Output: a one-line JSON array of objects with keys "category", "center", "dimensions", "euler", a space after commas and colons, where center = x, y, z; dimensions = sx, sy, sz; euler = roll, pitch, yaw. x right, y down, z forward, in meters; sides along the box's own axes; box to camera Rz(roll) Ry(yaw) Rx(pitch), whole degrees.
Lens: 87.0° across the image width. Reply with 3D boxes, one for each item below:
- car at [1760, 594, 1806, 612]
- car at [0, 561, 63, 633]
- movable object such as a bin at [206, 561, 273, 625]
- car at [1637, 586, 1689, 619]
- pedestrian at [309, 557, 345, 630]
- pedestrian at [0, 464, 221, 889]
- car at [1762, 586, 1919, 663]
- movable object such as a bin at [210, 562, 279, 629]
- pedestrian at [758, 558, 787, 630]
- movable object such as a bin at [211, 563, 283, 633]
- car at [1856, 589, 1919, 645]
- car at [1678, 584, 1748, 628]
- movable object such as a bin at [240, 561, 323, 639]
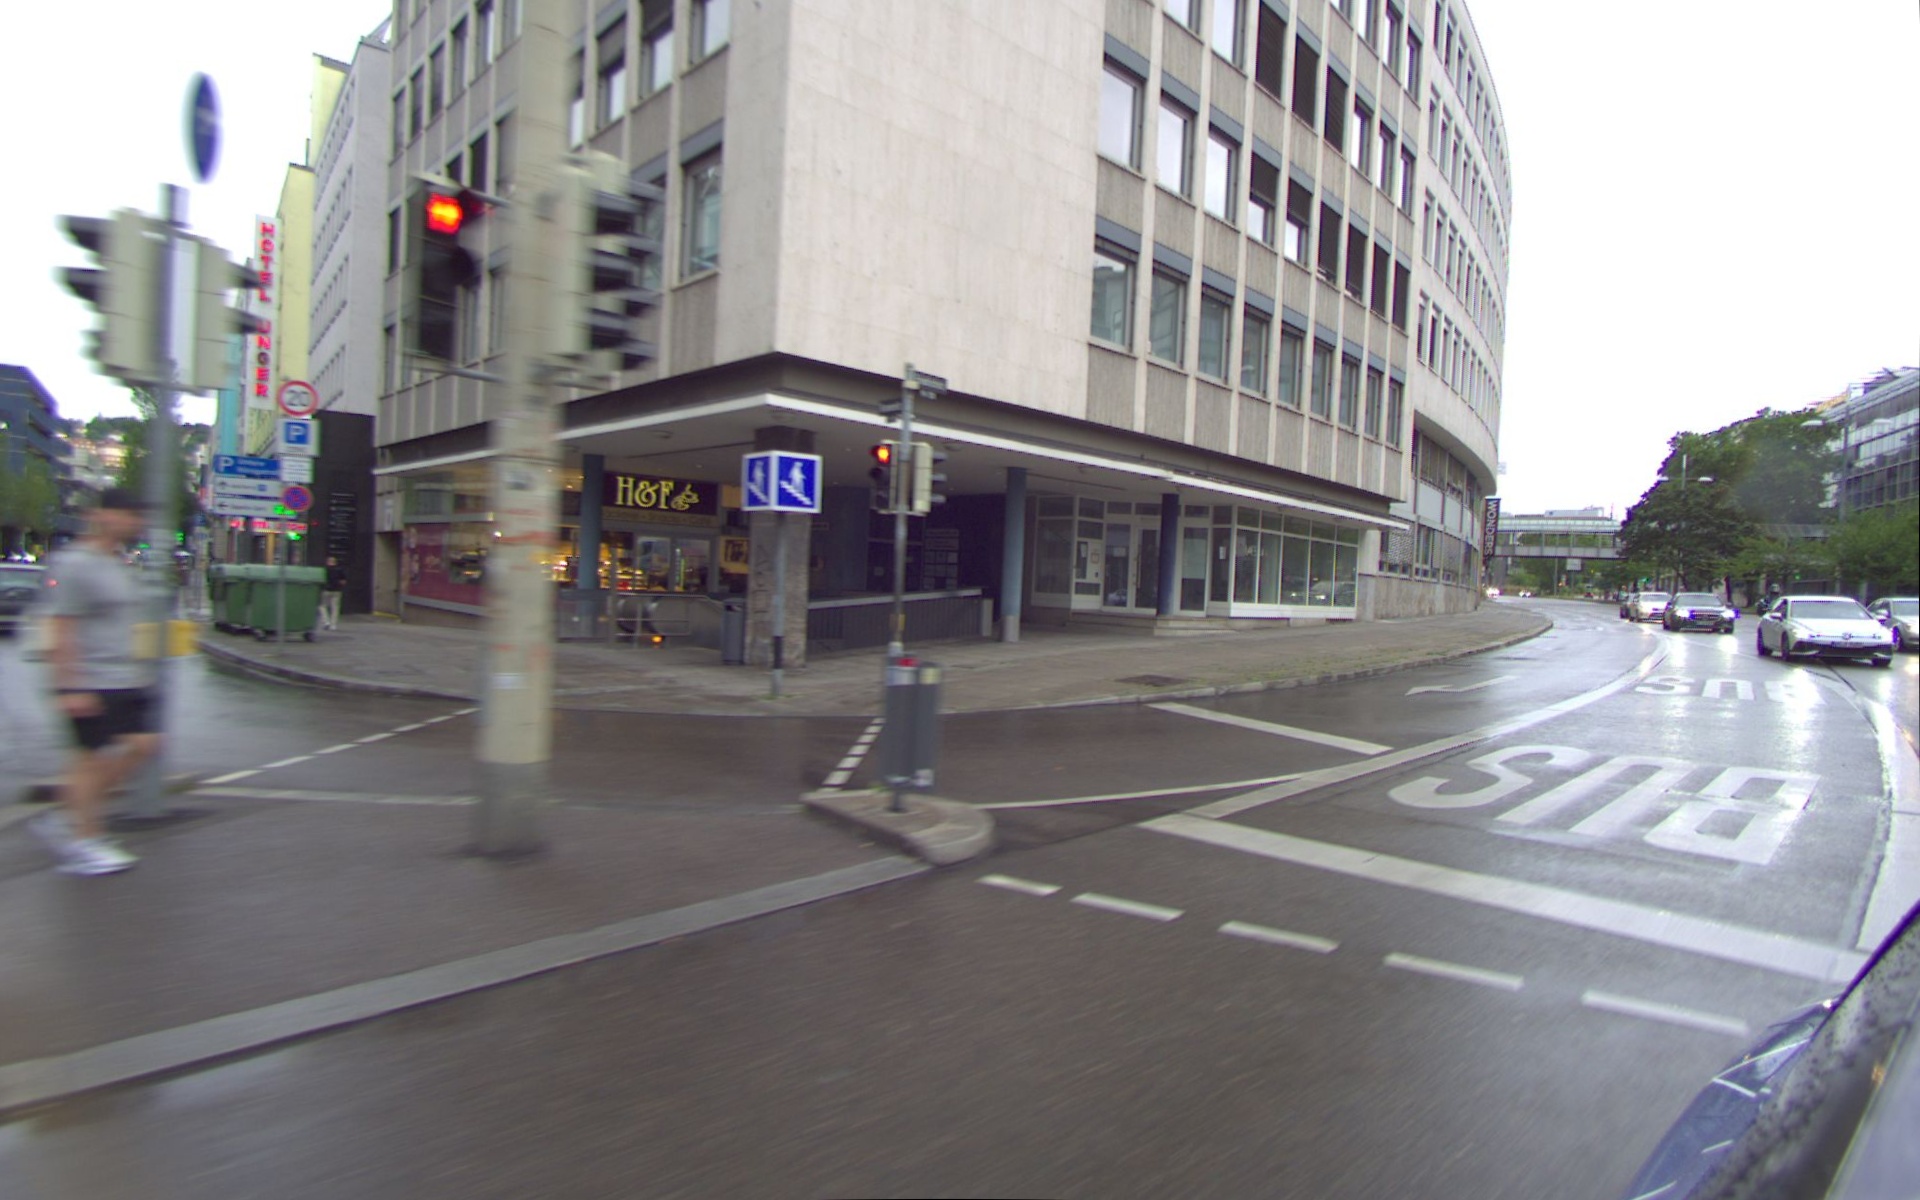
[{"category": "car", "center": [67.249, 0.200, 82.718], "dimensions": [1.731, 1.390, 3.972], "euler": [1, 1, 21]}, {"category": "car", "center": [-20.553, -0.112, 21.791], "dimensions": [3.987, 1.447, 1.551], "euler": [2, 2, 44]}, {"category": "movable object such as a bin", "center": [-16.452, -0.158, 23.103], "dimensions": [1.176, 1.400, 1.103], "euler": [1, 1, -37]}, {"category": "car", "center": [33.997, 0.085, 49.030], "dimensions": [1.709, 1.483, 3.995], "euler": [1, 2, 30]}, {"category": "pedestrian", "center": [-15.547, -0.172, 24.849], "dimensions": [0.586, 1.753, 0.770], "euler": [0, 1, -45]}, {"category": "pedestrian", "center": [-4.021, 0.323, 4.696], "dimensions": [0.757, 1.816, 0.672], "euler": [1, 1, -15]}, {"category": "car", "center": [19.625, 0.479, 22.723], "dimensions": [1.915, 1.498, 3.957], "euler": [2, 1, 30]}, {"category": "movable object such as a bin", "center": [-15.710, -0.101, 22.221], "dimensions": [1.176, 1.400, 1.103], "euler": [1, 1, -37]}, {"category": "pedestrian", "center": [-4.815, -0.157, 26.017], "dimensions": [0.696, 1.826, 0.802], "euler": [1, 1, -10]}, {"category": "movable object such as a bin", "center": [-14.934, -0.042, 21.202], "dimensions": [1.176, 1.400, 1.103], "euler": [1, 1, -37]}, {"category": "car", "center": [25.839, 0.431, 27.173], "dimensions": [1.761, 1.398, 4.054], "euler": [1, 1, 29]}, {"category": "car", "center": [28.373, 0.180, 38.247], "dimensions": [1.987, 1.483, 4.349], "euler": [1, 2, 35]}, {"category": "movable object such as a bin", "center": [-13.215, -0.005, 19.705], "dimensions": [1.257, 1.447, 0.969], "euler": [1, 1, -37]}]
